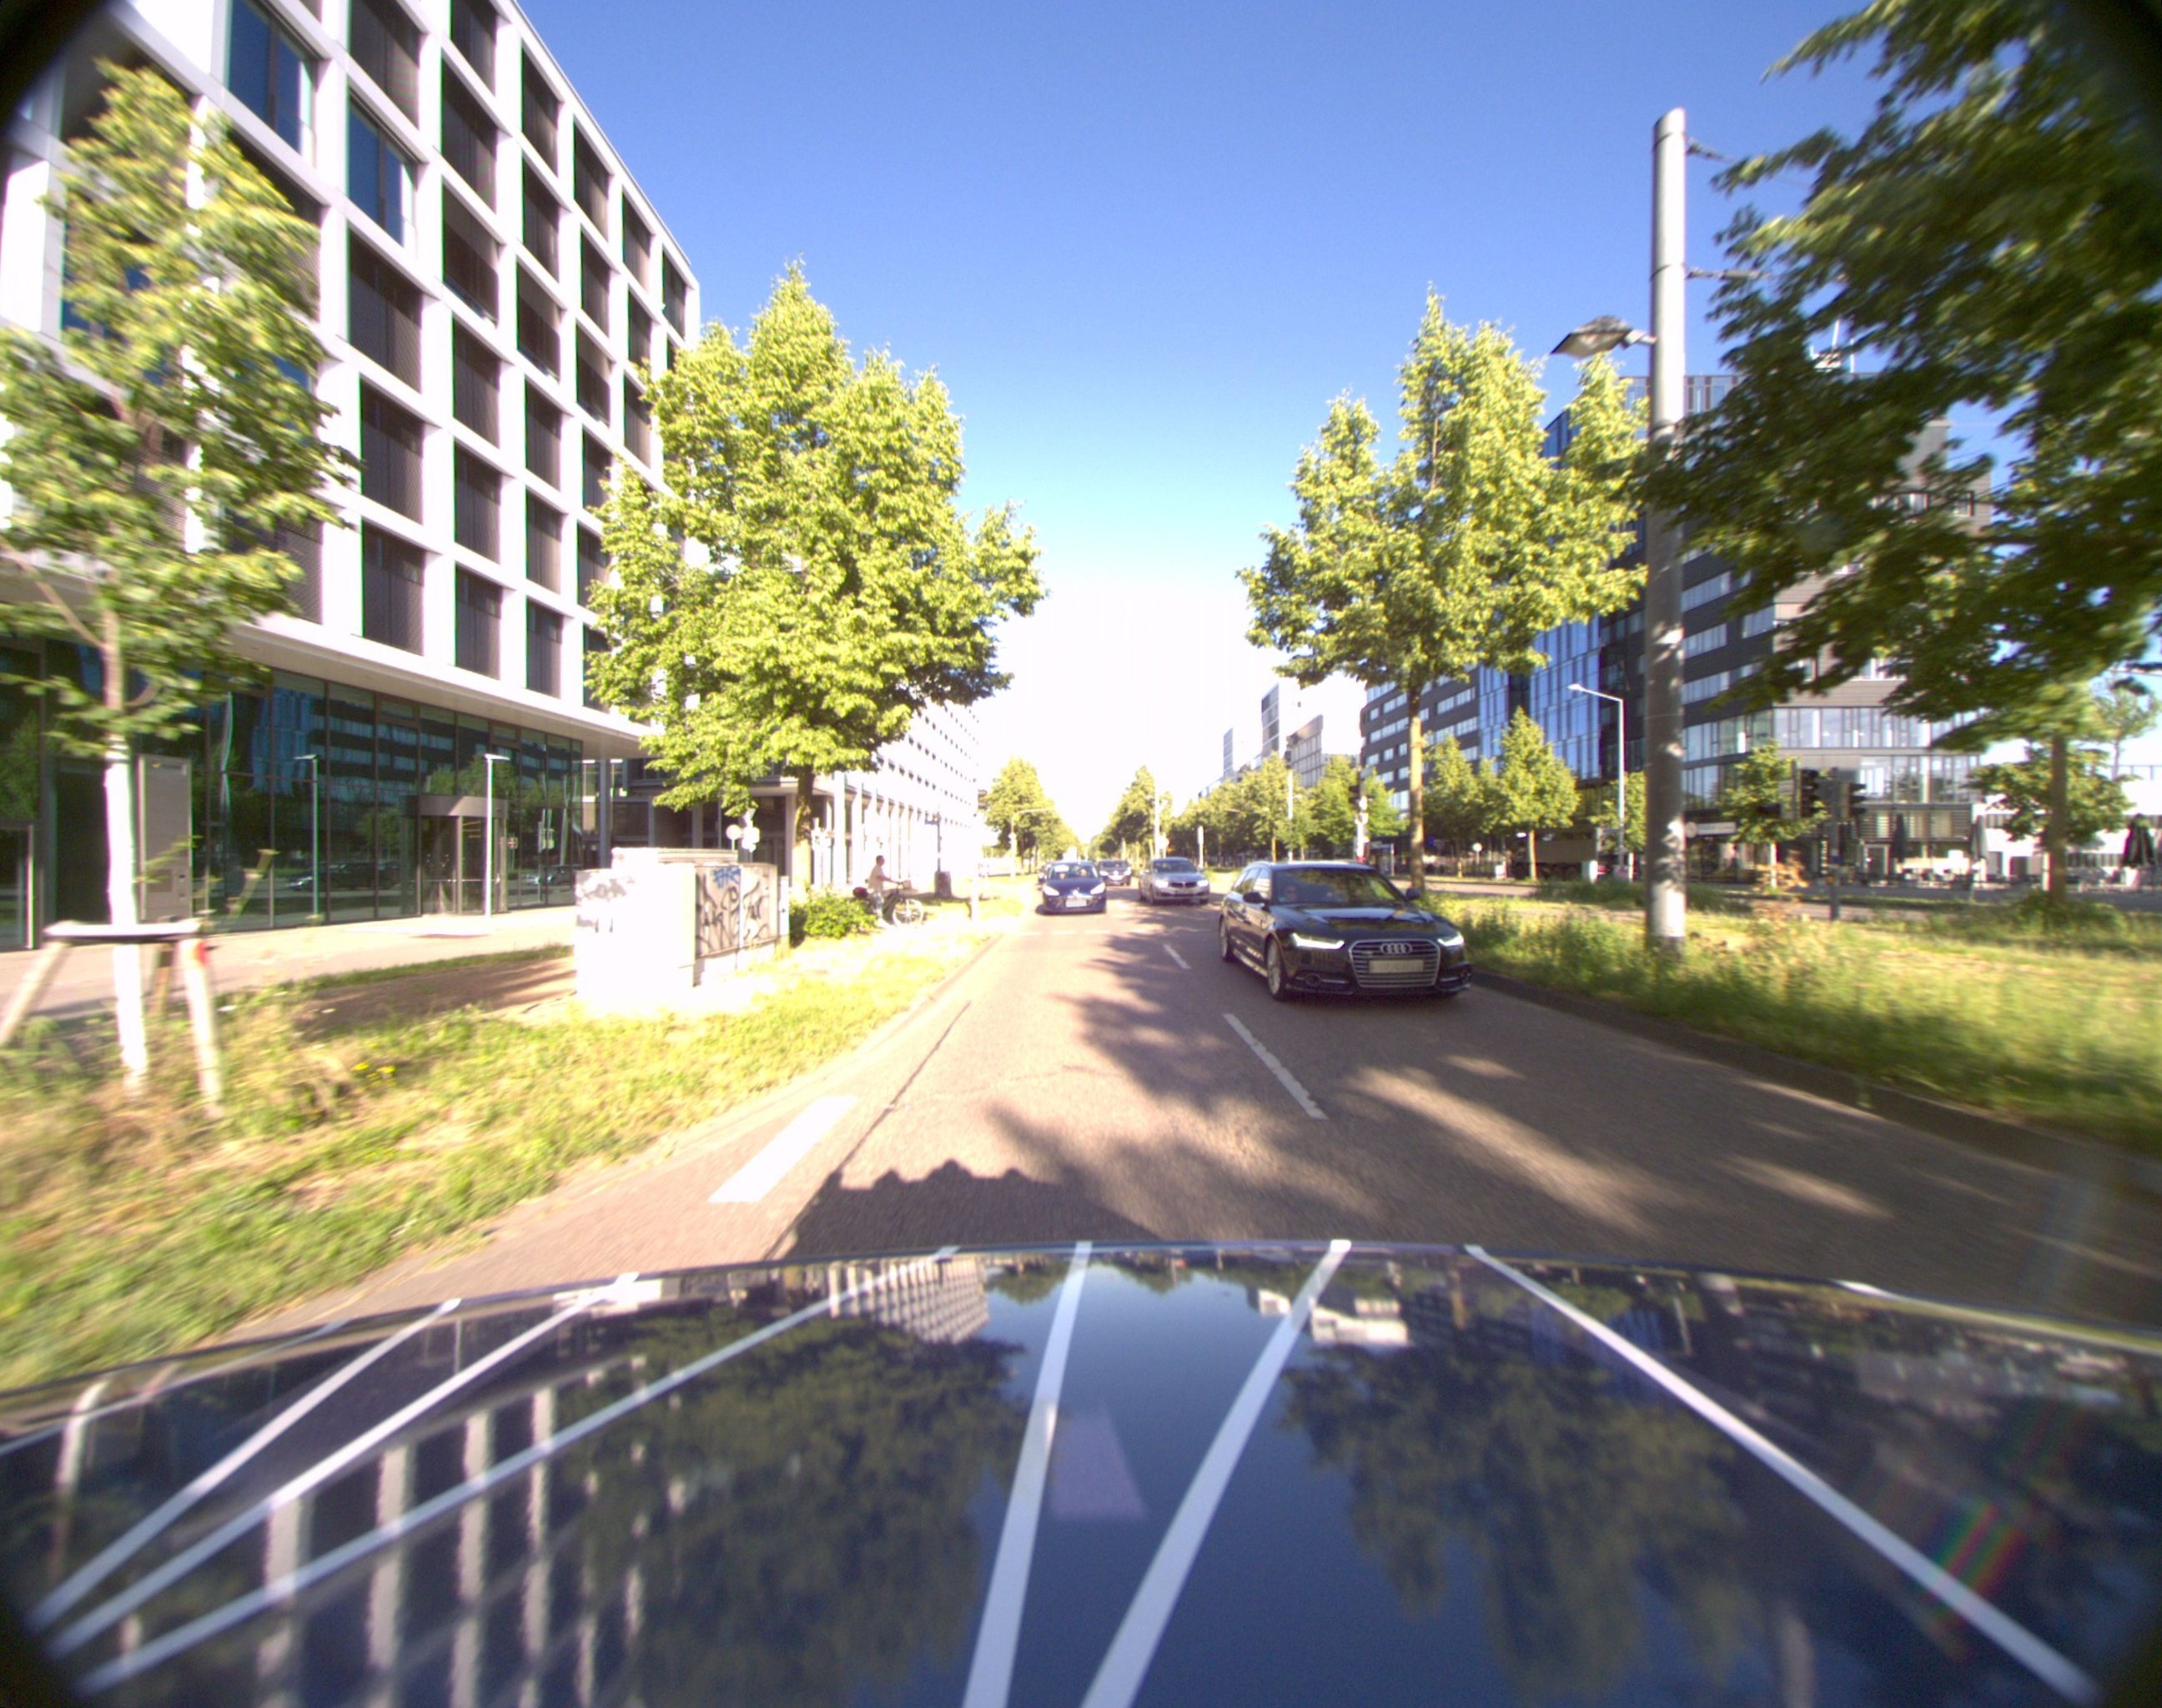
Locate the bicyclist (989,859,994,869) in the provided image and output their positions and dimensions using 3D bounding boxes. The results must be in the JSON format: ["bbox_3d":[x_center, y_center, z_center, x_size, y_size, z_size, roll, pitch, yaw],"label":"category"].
[{"bbox_3d":[-11.100,1.227,94.437,0.534,1.282,0.521,-1,1,1],"label":"bicyclist"}]

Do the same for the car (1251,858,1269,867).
[{"bbox_3d":[33.077,1.562,140.628,2.012,1.688,4.791,0,0,-3],"label":"car"}]

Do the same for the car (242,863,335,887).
[{"bbox_3d":[-53.110,1.399,51.003,1.657,1.496,4.004,0,0,13],"label":"car"}]

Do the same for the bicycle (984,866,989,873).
[{"bbox_3d":[-11.328,1.839,91.142,0.464,0.813,1.345,-1,0,1],"label":"bicycle"}]

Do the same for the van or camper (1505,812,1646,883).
[{"bbox_3d":[32.145,-0.381,50.106,2.760,4.168,10.230,0,0,1],"label":"van or camper"}]

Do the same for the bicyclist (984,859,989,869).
[{"bbox_3d":[-11.357,1.198,91.086,0.534,1.210,0.507,-1,1,1],"label":"bicyclist"}]

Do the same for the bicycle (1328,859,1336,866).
[{"bbox_3d":[38.466,1.309,116.441,0.528,1.028,1.848,-1,0,1],"label":"bicycle"}]

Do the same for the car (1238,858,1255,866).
[{"bbox_3d":[32.898,1.554,150.968,2.012,1.688,4.791,0,0,-3],"label":"car"}]

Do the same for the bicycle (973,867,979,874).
[{"bbox_3d":[-12.570,1.924,91.131,0.415,0.813,1.320,-1,0,1],"label":"bicycle"}]

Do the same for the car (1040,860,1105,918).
[{"bbox_3d":[-0.191,0.943,21.846,1.686,1.513,3.785,0,0,1],"label":"car"}]

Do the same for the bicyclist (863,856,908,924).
[{"bbox_3d":[-4.461,0.802,17.402,0.849,1.522,0.774,0,0,-2],"label":"bicyclist"}]

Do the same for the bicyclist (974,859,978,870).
[{"bbox_3d":[-12.611,1.270,91.074,0.448,1.282,0.418,-1,1,1],"label":"bicyclist"}]

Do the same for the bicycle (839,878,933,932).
[{"bbox_3d":[-4.441,1.159,17.403,1.960,1.167,0.744,0,0,-3],"label":"bicycle"}]

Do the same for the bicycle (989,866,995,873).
[{"bbox_3d":[-11.034,1.929,94.427,0.464,0.813,1.345,-1,0,1],"label":"bicycle"}]

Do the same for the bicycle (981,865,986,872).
[{"bbox_3d":[-12.138,1.823,94.420,0.464,0.813,1.345,-1,0,1],"label":"bicycle"}]

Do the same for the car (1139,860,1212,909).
[{"bbox_3d":[3.041,0.931,25.271,1.812,1.480,4.742,0,0,0],"label":"car"}]

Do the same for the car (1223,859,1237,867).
[{"bbox_3d":[32.965,1.989,168.467,2.012,1.688,4.792,0,0,-1],"label":"car"}]

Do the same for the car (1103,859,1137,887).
[{"bbox_3d":[2.184,1.067,43.863,1.812,1.513,4.029,0,0,1],"label":"car"}]

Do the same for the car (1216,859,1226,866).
[{"bbox_3d":[33.032,1.927,179.104,1.601,1.659,3.744,0,0,1],"label":"car"}]

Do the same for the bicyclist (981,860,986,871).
[{"bbox_3d":[-12.150,1.428,94.374,0.534,1.282,0.457,-1,1,1],"label":"bicyclist"}]

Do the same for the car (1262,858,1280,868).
[{"bbox_3d":[32.640,1.592,130.503,1.858,1.674,4.793,0,0,1],"label":"car"}]

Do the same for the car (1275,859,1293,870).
[{"bbox_3d":[32.031,1.618,119.879,1.858,1.739,4.000,0,0,1],"label":"car"}]

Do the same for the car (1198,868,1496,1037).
[{"bbox_3d":[2.784,0.931,9.174,1.813,1.448,4.507,-1,0,-3],"label":"car"}]
